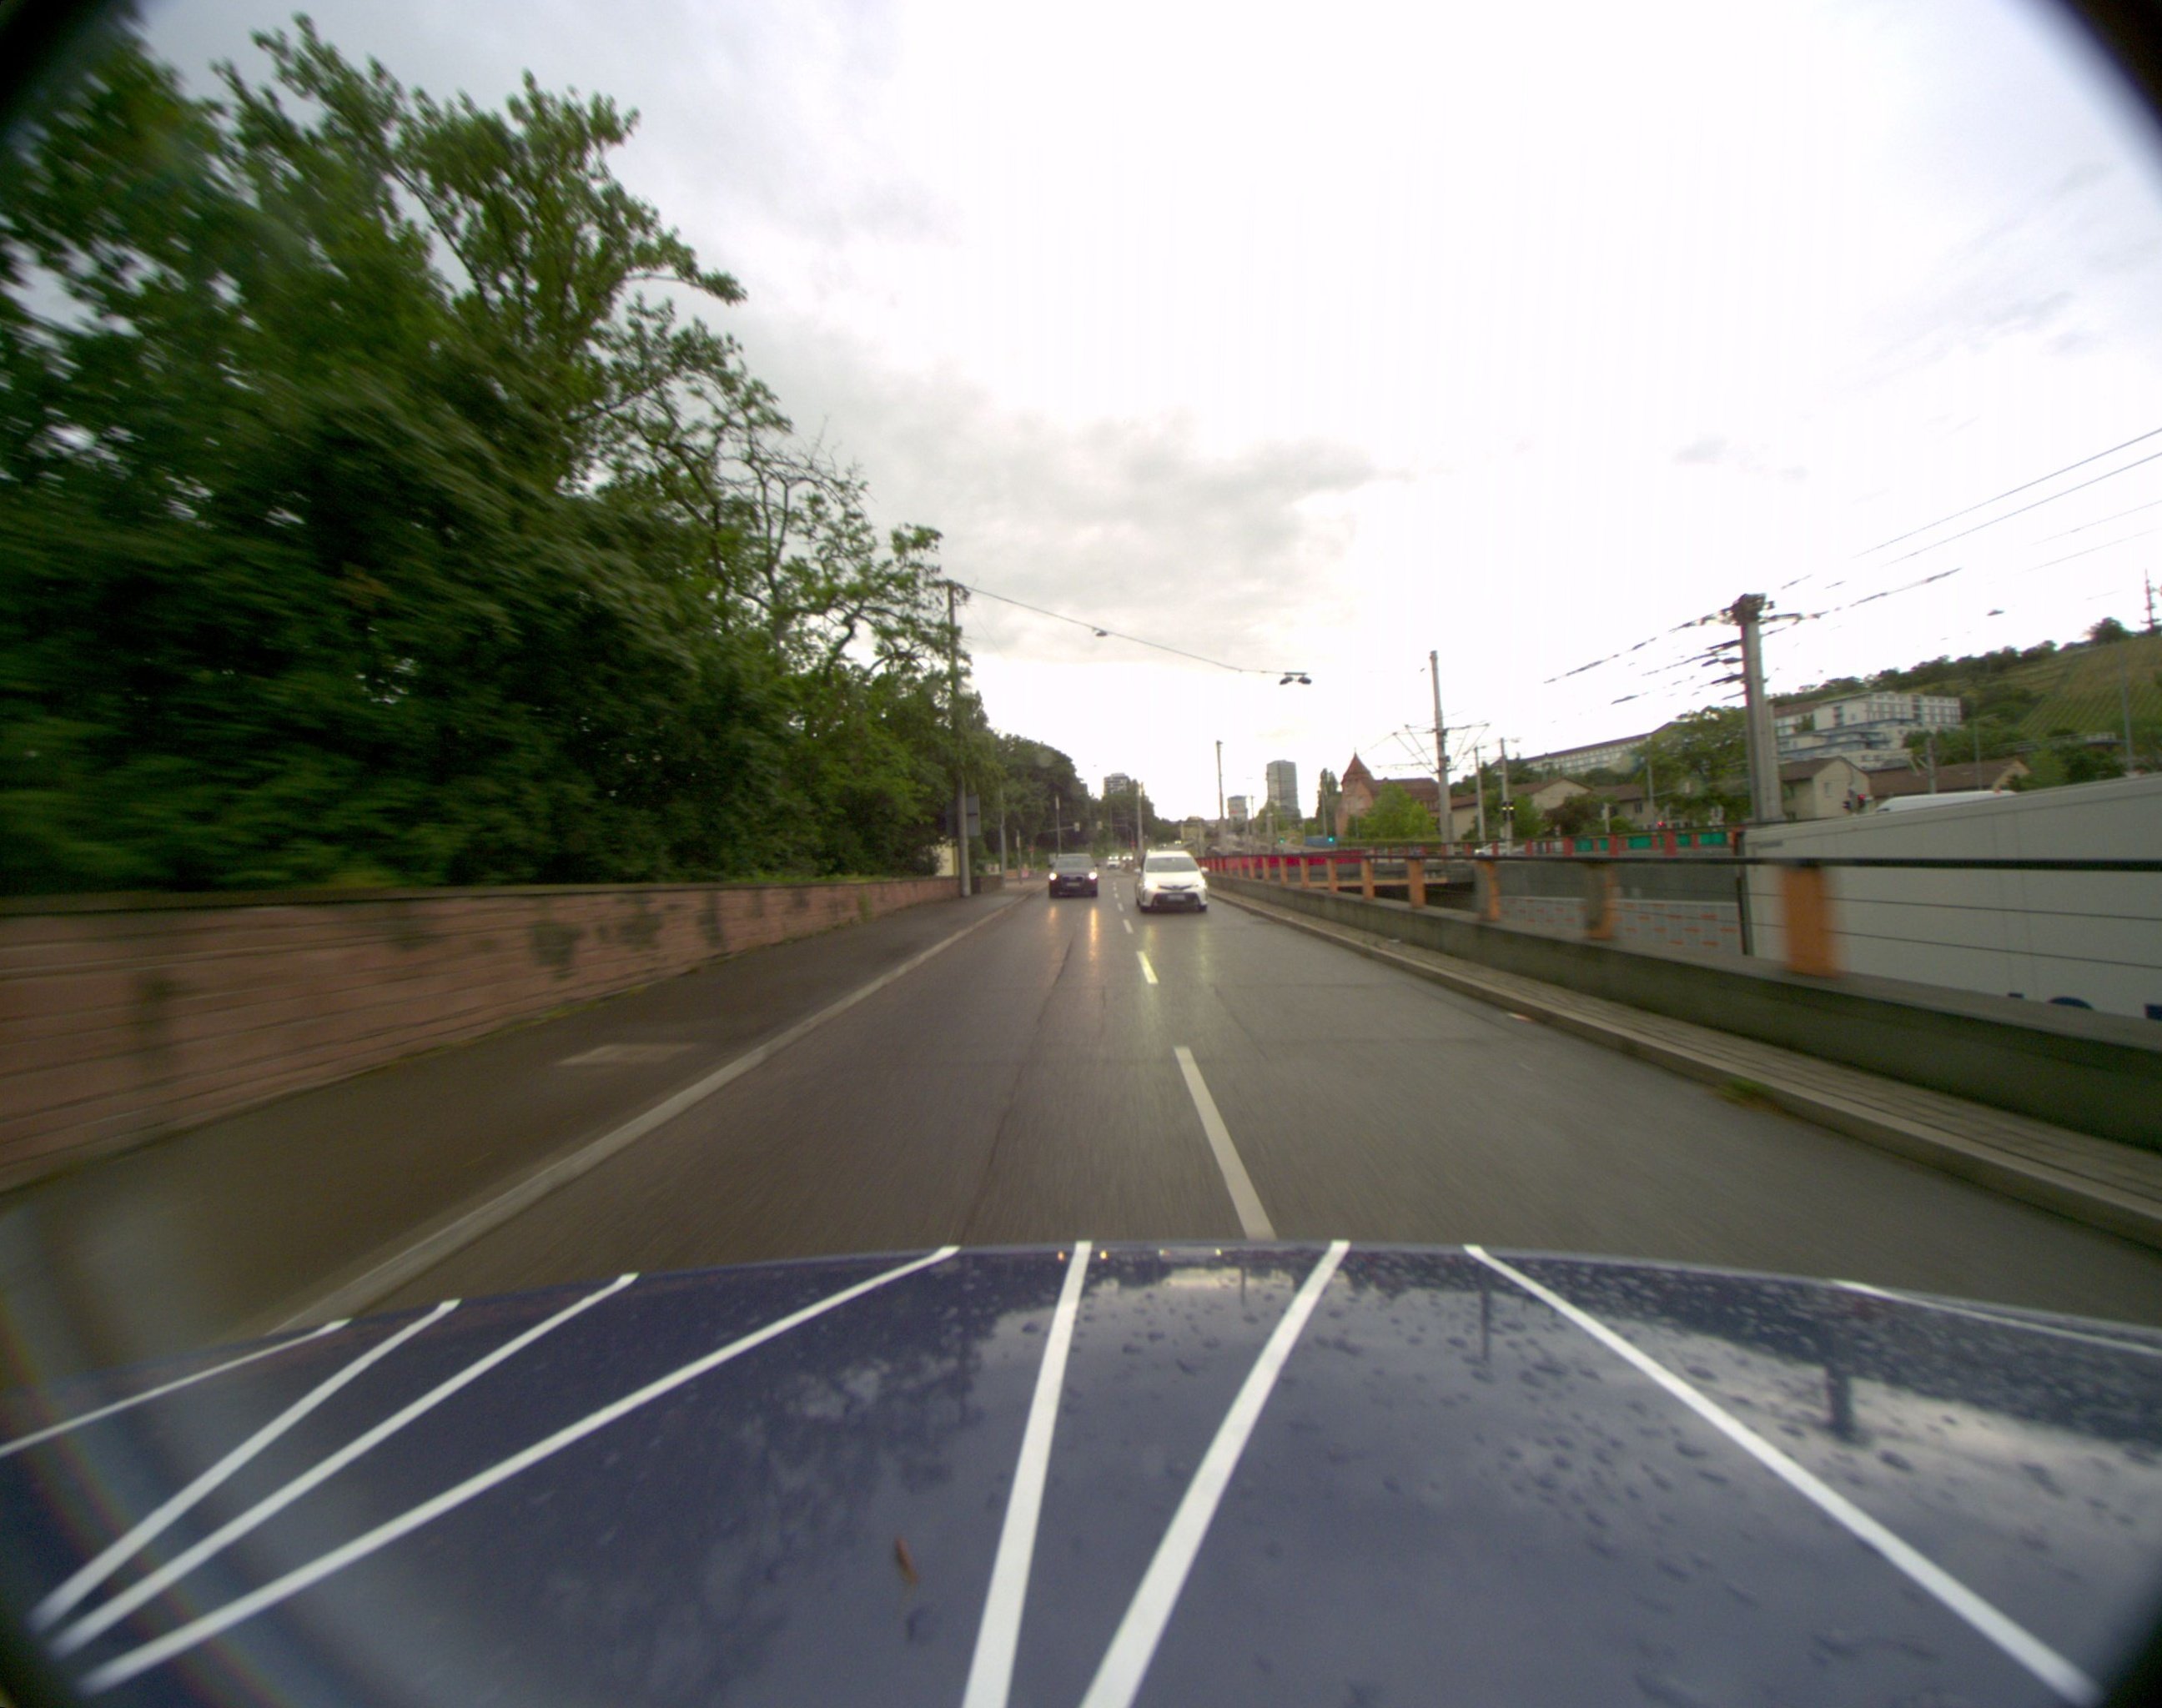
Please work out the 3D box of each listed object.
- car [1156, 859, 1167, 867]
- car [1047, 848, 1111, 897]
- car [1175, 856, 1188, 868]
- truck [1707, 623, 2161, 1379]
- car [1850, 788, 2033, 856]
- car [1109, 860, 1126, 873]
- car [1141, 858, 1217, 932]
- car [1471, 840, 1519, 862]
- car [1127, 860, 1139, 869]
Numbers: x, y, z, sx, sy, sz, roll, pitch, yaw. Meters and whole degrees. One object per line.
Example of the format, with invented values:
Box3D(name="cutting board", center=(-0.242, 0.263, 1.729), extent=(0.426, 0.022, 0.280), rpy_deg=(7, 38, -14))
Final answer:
Box3D(name="car", center=(15.208, 1.683, 144.321), extent=(1.801, 1.463, 4.000), rpy_deg=(-3, 1, 3))
Box3D(name="car", center=(-0.006, 0.650, 29.201), extent=(1.855, 1.579, 4.001), rpy_deg=(-2, 2, 8))
Box3D(name="car", center=(16.283, 1.270, 123.278), extent=(1.737, 1.579, 4.002), rpy_deg=(-2, 2, 11))
Box3D(name="truck", center=(7.235, 0.726, 0.698), extent=(2.769, 4.171, 13.034), rpy_deg=(-1, -1, 1))
Box3D(name="car", center=(38.950, -1.375, 34.715), extent=(1.998, 2.815, 5.718), rpy_deg=(-1, 0, 2))
Box3D(name="car", center=(5.170, 1.696, 106.139), extent=(1.737, 1.579, 4.002), rpy_deg=(-2, 2, 11))
Box3D(name="car", center=(2.620, 1.044, 21.074), extent=(1.855, 1.741, 4.000), rpy_deg=(-1, 1, 4))
Box3D(name="car", center=(43.400, -0.305, 79.717), extent=(3.992, 2.003, 2.001), rpy_deg=(-2, 3, 15))
Box3D(name="car", center=(9.289, 1.898, 135.867), extent=(1.801, 1.502, 4.002), rpy_deg=(-3, -2, 2))
